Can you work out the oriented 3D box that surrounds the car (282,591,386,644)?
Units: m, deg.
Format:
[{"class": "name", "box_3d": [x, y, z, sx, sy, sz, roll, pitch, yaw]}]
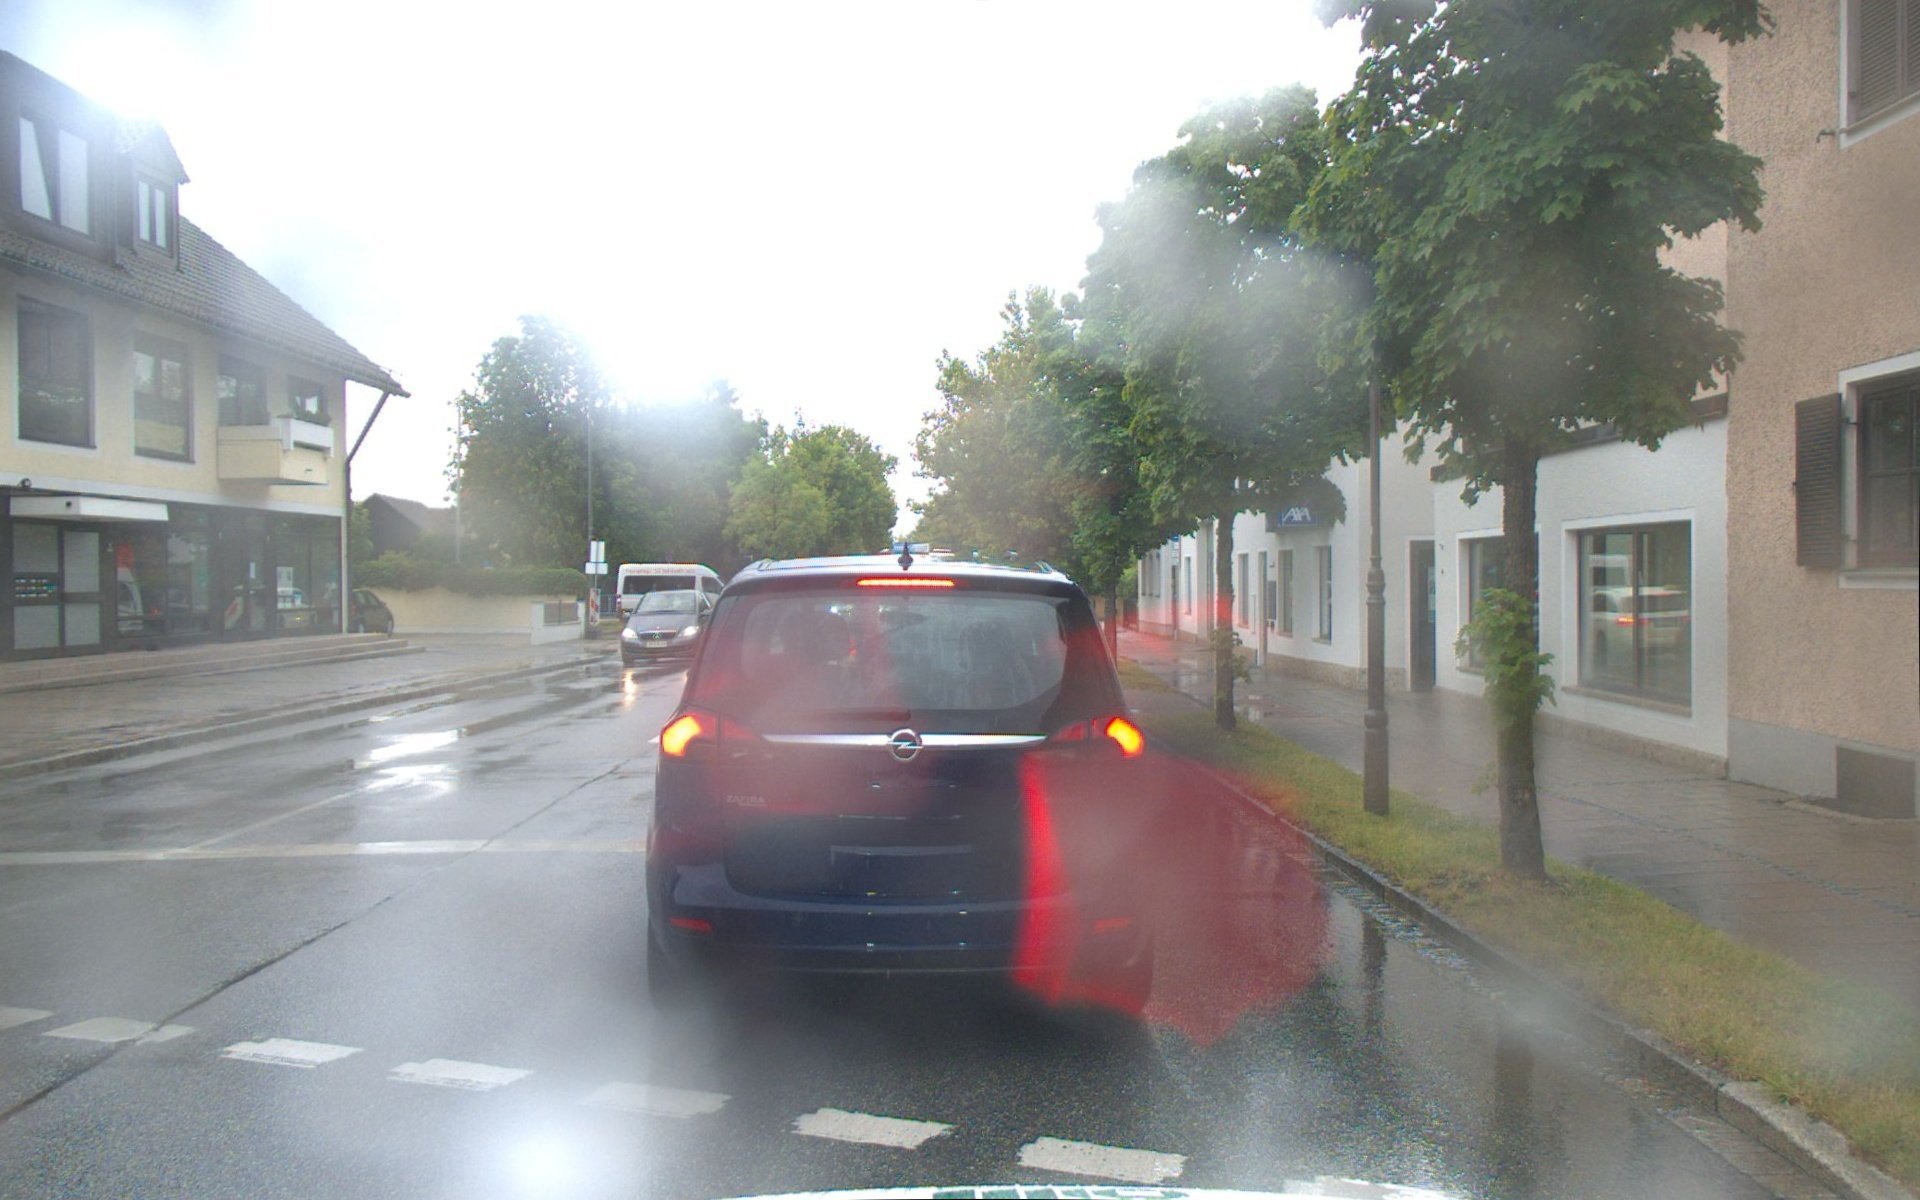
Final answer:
[{"class": "car", "box_3d": [-17.670, 0.473, 46.830, 1.574, 1.404, 3.508, -1, 0, 0]}]

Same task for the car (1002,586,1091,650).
[{"class": "car", "box_3d": [2.289, 0.465, 44.688, 2.075, 1.609, 3.934, 1, 0, -2]}]

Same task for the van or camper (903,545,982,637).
[{"class": "van or camper", "box_3d": [-0.558, -0.281, 51.372, 2.312, 2.712, 5.370, 0, 0, -1]}]

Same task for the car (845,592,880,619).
[{"class": "car", "box_3d": [-5.808, 0.306, 99.001, 1.887, 1.594, 4.125, -1, 0, -2]}]

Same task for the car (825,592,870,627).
[{"class": "car", "box_3d": [-5.347, 0.420, 79.101, 1.927, 1.590, 4.151, -1, 0, -1]}]

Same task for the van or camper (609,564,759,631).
[{"class": "van or camper", "box_3d": [-11.561, -0.125, 69.708, 6.129, 2.754, 2.098, 0, 0, -7]}]

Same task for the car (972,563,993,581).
[{"class": "car", "box_3d": [1.932, -2.400, 142.860, 1.597, 1.402, 3.622, -1, 0, -1]}]

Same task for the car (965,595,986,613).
[{"class": "car", "box_3d": [1.215, 0.295, 132.928, 1.597, 1.402, 3.622, 1, 0, -1]}]

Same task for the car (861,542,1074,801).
[{"class": "car", "box_3d": [0.033, 0.499, 13.253, 1.470, 1.807, 3.111, 1, 0, -1]}]

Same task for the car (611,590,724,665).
[{"class": "car", "box_3d": [-6.495, 0.569, 37.068, 1.877, 1.560, 3.898, -1, 0, -1]}]

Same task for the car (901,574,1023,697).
[{"class": "car", "box_3d": [0.008, 0.493, 25.261, 1.720, 1.735, 3.618, 0, 0, -1]}]

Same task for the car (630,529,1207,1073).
[{"class": "car", "box_3d": [-0.149, 0.609, 6.888, 1.733, 1.632, 3.662, 1, 0, -1]}]
